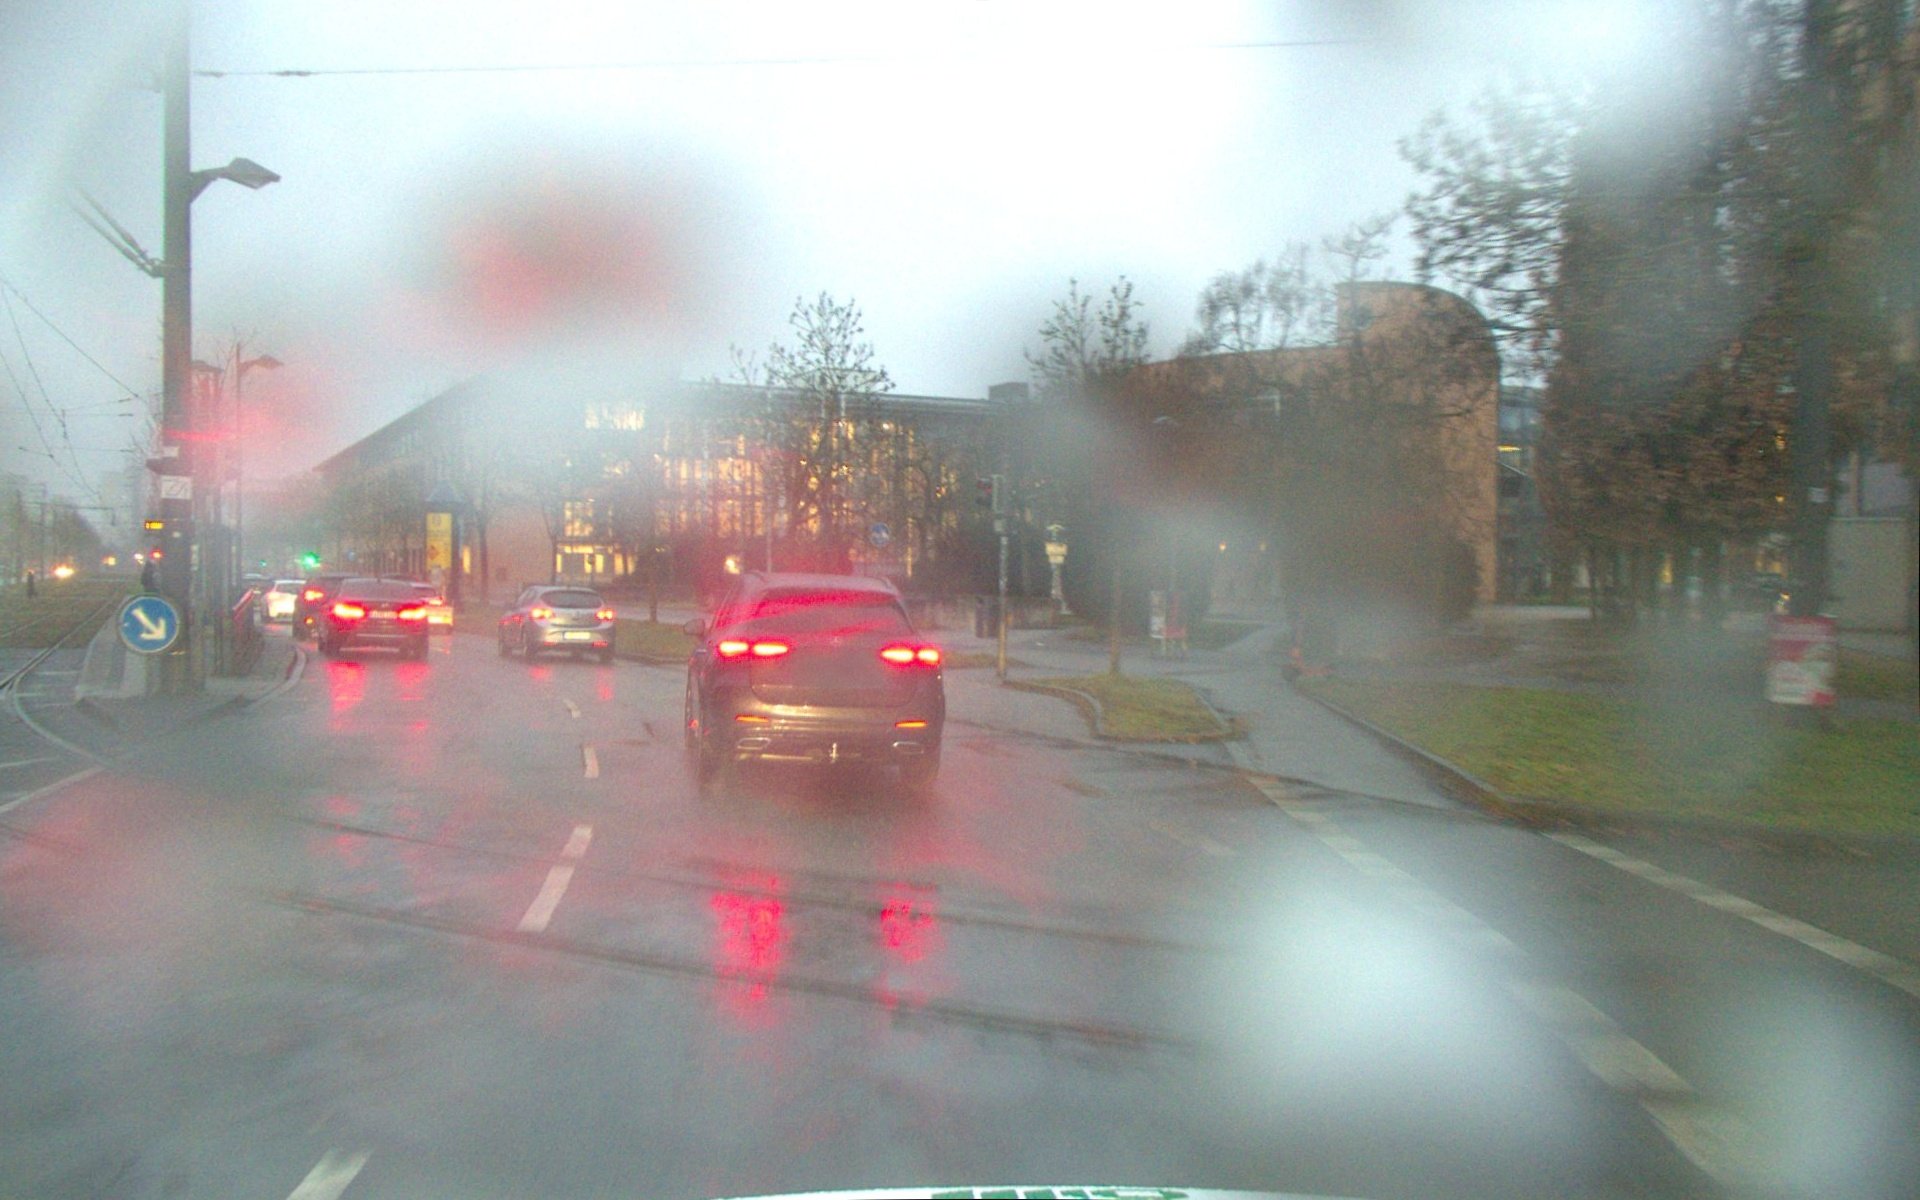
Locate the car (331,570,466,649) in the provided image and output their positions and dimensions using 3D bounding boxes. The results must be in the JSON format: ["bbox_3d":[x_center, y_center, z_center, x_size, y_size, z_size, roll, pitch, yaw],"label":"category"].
[{"bbox_3d":[-11.023,0.130,32.306,1.970,1.422,3.965,-1,1,-27],"label":"car"}]

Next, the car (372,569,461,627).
[{"bbox_3d":[-16.405,-0.102,49.790,1.970,1.646,3.965,-1,1,-27],"label":"car"}]

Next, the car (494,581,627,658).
[{"bbox_3d":[-8.222,0.347,33.821,1.967,1.432,3.970,-1,1,-24],"label":"car"}]

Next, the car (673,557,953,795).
[{"bbox_3d":[-1.267,0.482,13.628,1.953,1.644,3.994,0,1,-7],"label":"car"}]

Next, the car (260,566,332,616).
[{"bbox_3d":[-22.964,-0.349,57.123,1.970,1.646,3.965,-1,1,-27],"label":"car"}]

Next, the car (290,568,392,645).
[{"bbox_3d":[-15.471,0.116,41.200,1.970,1.796,3.966,-1,1,-27],"label":"car"}]

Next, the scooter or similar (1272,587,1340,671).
[{"bbox_3d":[5.358,0.438,25.583,1.136,1.253,0.480,-1,1,-43],"label":"scooter or similar"}]

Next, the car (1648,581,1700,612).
[{"bbox_3d":[29.146,-0.167,67.569,1.632,1.201,3.710,0,1,18],"label":"car"}]
